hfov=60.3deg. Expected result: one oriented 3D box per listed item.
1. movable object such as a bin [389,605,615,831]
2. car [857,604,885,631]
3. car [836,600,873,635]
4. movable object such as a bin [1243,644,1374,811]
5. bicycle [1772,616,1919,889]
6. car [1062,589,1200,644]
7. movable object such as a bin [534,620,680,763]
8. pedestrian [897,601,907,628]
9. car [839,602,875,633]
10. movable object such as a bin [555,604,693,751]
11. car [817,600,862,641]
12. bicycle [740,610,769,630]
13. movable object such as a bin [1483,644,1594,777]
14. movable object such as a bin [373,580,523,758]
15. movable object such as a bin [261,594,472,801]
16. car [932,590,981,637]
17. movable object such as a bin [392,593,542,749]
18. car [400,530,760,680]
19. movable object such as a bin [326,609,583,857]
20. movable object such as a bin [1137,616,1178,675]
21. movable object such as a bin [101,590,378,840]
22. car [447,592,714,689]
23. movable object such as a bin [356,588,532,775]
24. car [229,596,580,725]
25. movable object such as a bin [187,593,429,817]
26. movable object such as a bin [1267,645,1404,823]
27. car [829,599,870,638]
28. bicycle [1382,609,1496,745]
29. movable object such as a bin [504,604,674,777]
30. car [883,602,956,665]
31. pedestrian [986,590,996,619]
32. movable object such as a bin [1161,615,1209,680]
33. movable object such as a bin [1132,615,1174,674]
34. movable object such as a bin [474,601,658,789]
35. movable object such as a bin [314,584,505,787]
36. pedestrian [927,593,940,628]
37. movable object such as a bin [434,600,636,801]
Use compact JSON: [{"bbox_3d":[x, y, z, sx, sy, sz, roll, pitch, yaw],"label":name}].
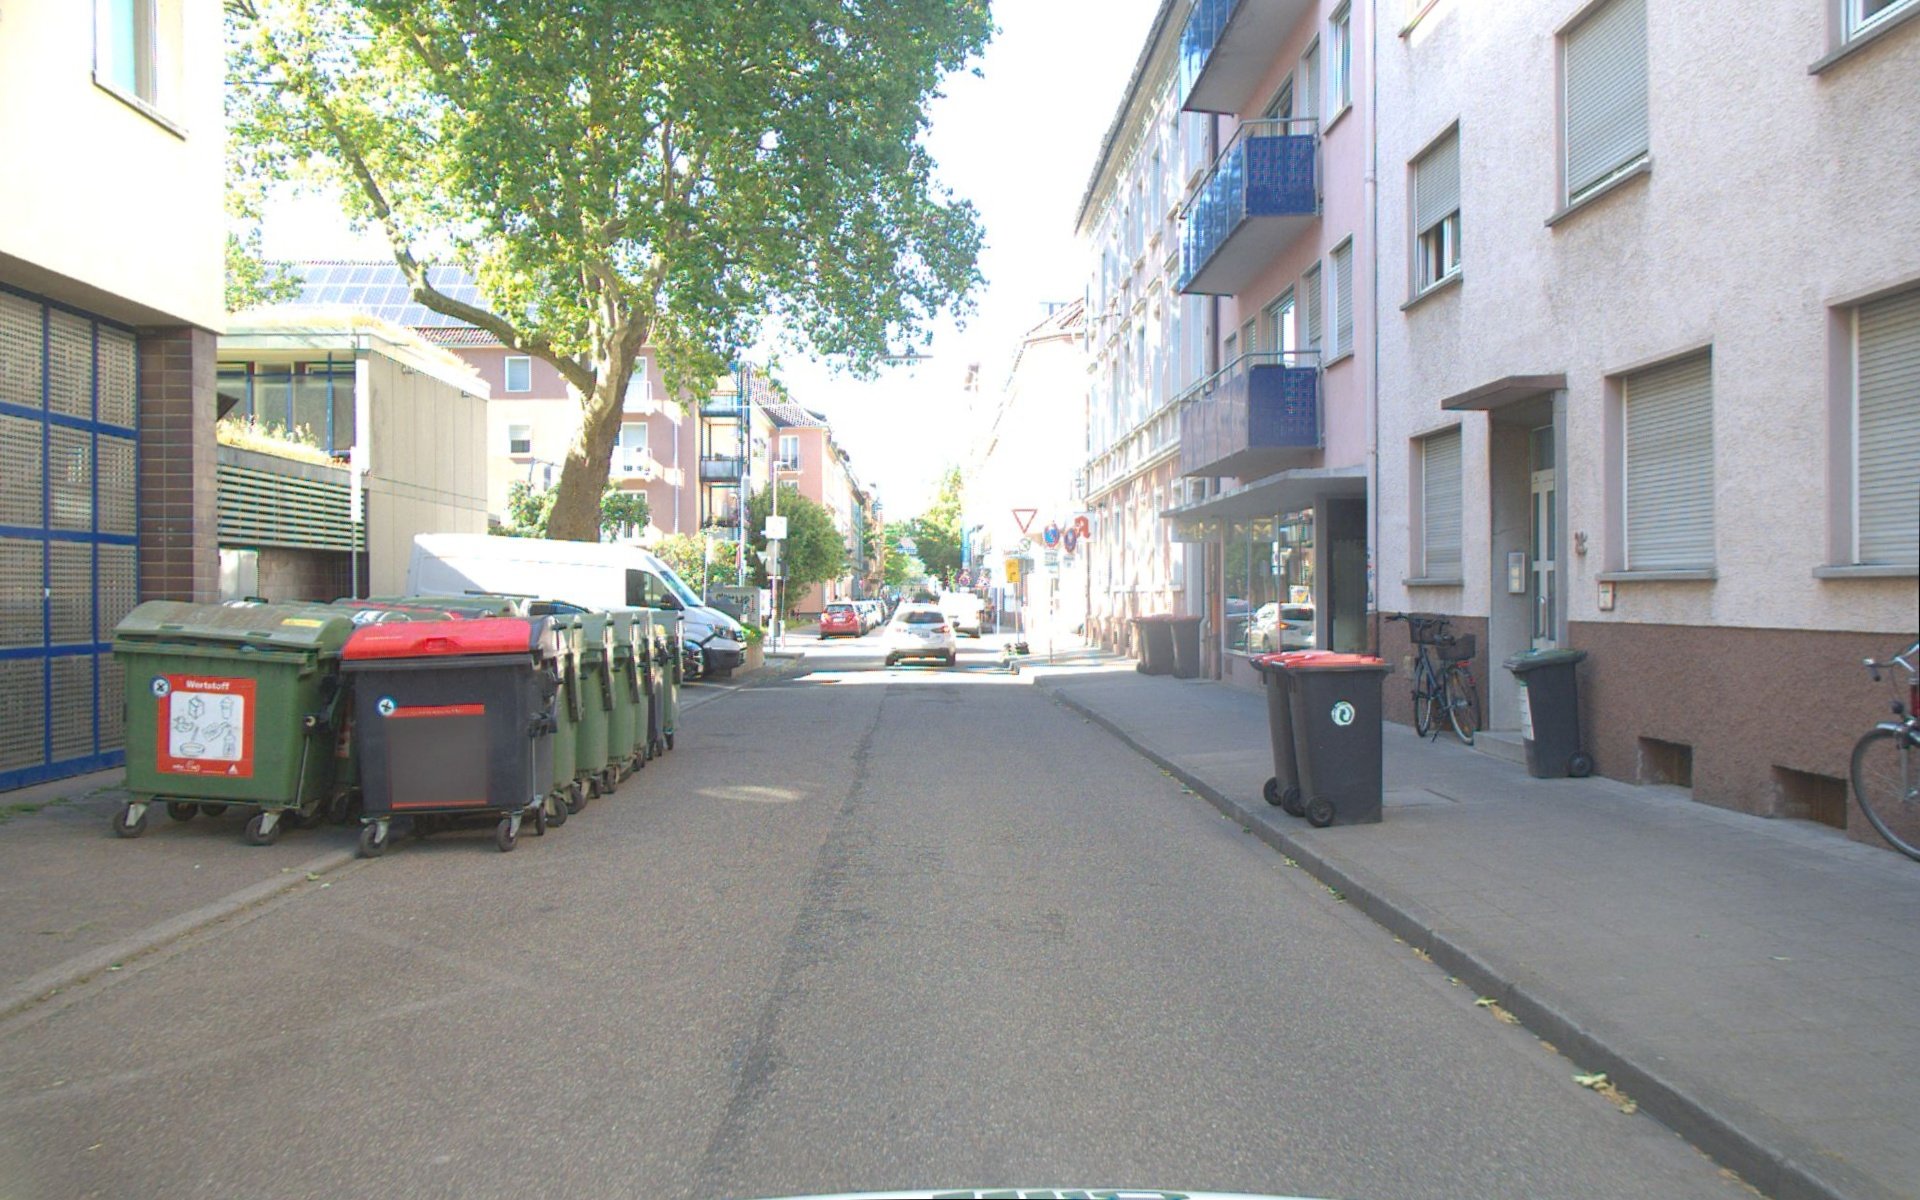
[{"bbox_3d":[-3.264,0.818,11.915,1.307,1.510,1.093,-2,-1,-2],"label":"movable object such as a bin"},{"bbox_3d":[-5.477,1.078,102.322,1.540,1.613,3.610,0,-1,-1],"label":"car"},{"bbox_3d":[-5.172,0.866,81.223,1.602,1.685,3.784,0,-1,-1],"label":"car"},{"bbox_3d":[2.406,0.867,11.475,0.752,1.105,0.693,0,-1,-1],"label":"movable object such as a bin"},{"bbox_3d":[4.586,0.702,7.631,0.526,1.190,2.075,-4,0,-2],"label":"bicycle"},{"bbox_3d":[6.449,0.627,62.335,4.791,1.962,1.999,0,-2,23],"label":"car"},{"bbox_3d":[-3.422,0.868,16.150,1.216,1.345,1.045,0,-1,-2],"label":"movable object such as a bin"},{"bbox_3d":[-3.877,0.970,110.919,0.634,1.828,0.639,0,-1,-1],"label":"pedestrian"},{"bbox_3d":[-5.455,0.915,88.001,1.685,1.604,3.725,0,-1,-1],"label":"car"},{"bbox_3d":[-3.478,0.790,17.249,1.275,1.476,1.116,0,-1,-5],"label":"movable object such as a bin"},{"bbox_3d":[-5.082,0.850,70.111,1.734,1.616,3.725,0,1,-2],"label":"car"},{"bbox_3d":[-10.094,0.975,81.255,0.598,0.948,1.892,0,-1,-34],"label":"bicycle"},{"bbox_3d":[4.364,0.820,12.503,0.586,0.968,0.682,0,-1,-1],"label":"movable object such as a bin"},{"bbox_3d":[-5.002,0.663,16.268,1.204,1.682,1.172,0,-1,-7],"label":"movable object such as a bin"},{"bbox_3d":[-4.610,0.741,12.943,1.276,1.549,1.017,0,-1,-2],"label":"movable object such as a bin"},{"bbox_3d":[-0.192,0.584,73.470,1.904,1.982,4.075,1,0,-4],"label":"car"},{"bbox_3d":[-5.167,0.730,17.422,1.327,1.577,1.119,0,-1,-7],"label":"movable object such as a bin"},{"bbox_3d":[-7.531,0.114,33.283,6.601,2.599,2.145,3,-1,0],"label":"car"},{"bbox_3d":[-3.239,0.820,10.742,1.293,1.476,1.186,-2,-1,-2],"label":"movable object such as a bin"},{"bbox_3d":[3.699,0.848,30.982,0.687,1.092,0.596,0,-1,0],"label":"movable object such as a bin"},{"bbox_3d":[-4.613,0.712,10.707,1.270,1.524,1.178,0,-1,-2],"label":"movable object such as a bin"},{"bbox_3d":[-6.915,0.727,30.496,4.408,1.496,1.929,3,0,0],"label":"car"},{"bbox_3d":[-4.652,0.723,15.009,1.262,1.632,1.081,0,-1,-2],"label":"movable object such as a bin"},{"bbox_3d":[-6.881,0.741,20.802,3.797,1.531,1.826,0,-1,-3],"label":"car"},{"bbox_3d":[-4.633,0.725,11.865,1.279,1.525,1.156,0,-1,-2],"label":"movable object such as a bin"},{"bbox_3d":[2.431,0.851,10.763,0.717,1.100,0.703,0,-1,-1],"label":"movable object such as a bin"},{"bbox_3d":[-5.033,0.828,75.712,1.685,1.712,3.725,0,0,-1],"label":"car"},{"bbox_3d":[4.381,0.673,15.245,0.444,1.154,1.919,-3,-1,0],"label":"bicycle"},{"bbox_3d":[-3.349,0.800,15.062,1.307,1.517,1.081,0,-1,-2],"label":"movable object such as a bin"},{"bbox_3d":[-1.067,0.828,42.839,1.787,1.540,3.822,0,0,-2],"label":"car"},{"bbox_3d":[1.919,0.274,103.087,0.605,1.764,0.560,0,-1,-2],"label":"pedestrian"},{"bbox_3d":[3.950,0.833,29.044,0.715,1.123,0.692,0,-1,-4],"label":"movable object such as a bin"},{"bbox_3d":[3.684,0.849,31.614,0.730,1.105,0.634,0,-1,0],"label":"movable object such as a bin"},{"bbox_3d":[-3.305,0.780,13.995,1.316,1.525,1.017,0,-1,-2],"label":"movable object such as a bin"},{"bbox_3d":[-4.609,0.701,13.946,1.268,1.649,1.017,0,-1,-2],"label":"movable object such as a bin"},{"bbox_3d":[-1.650,0.670,103.423,0.755,2.155,0.834,0,-1,-1],"label":"pedestrian"},{"bbox_3d":[-3.298,0.763,12.959,1.321,1.513,1.003,0,-1,-2],"label":"movable object such as a bin"}]
